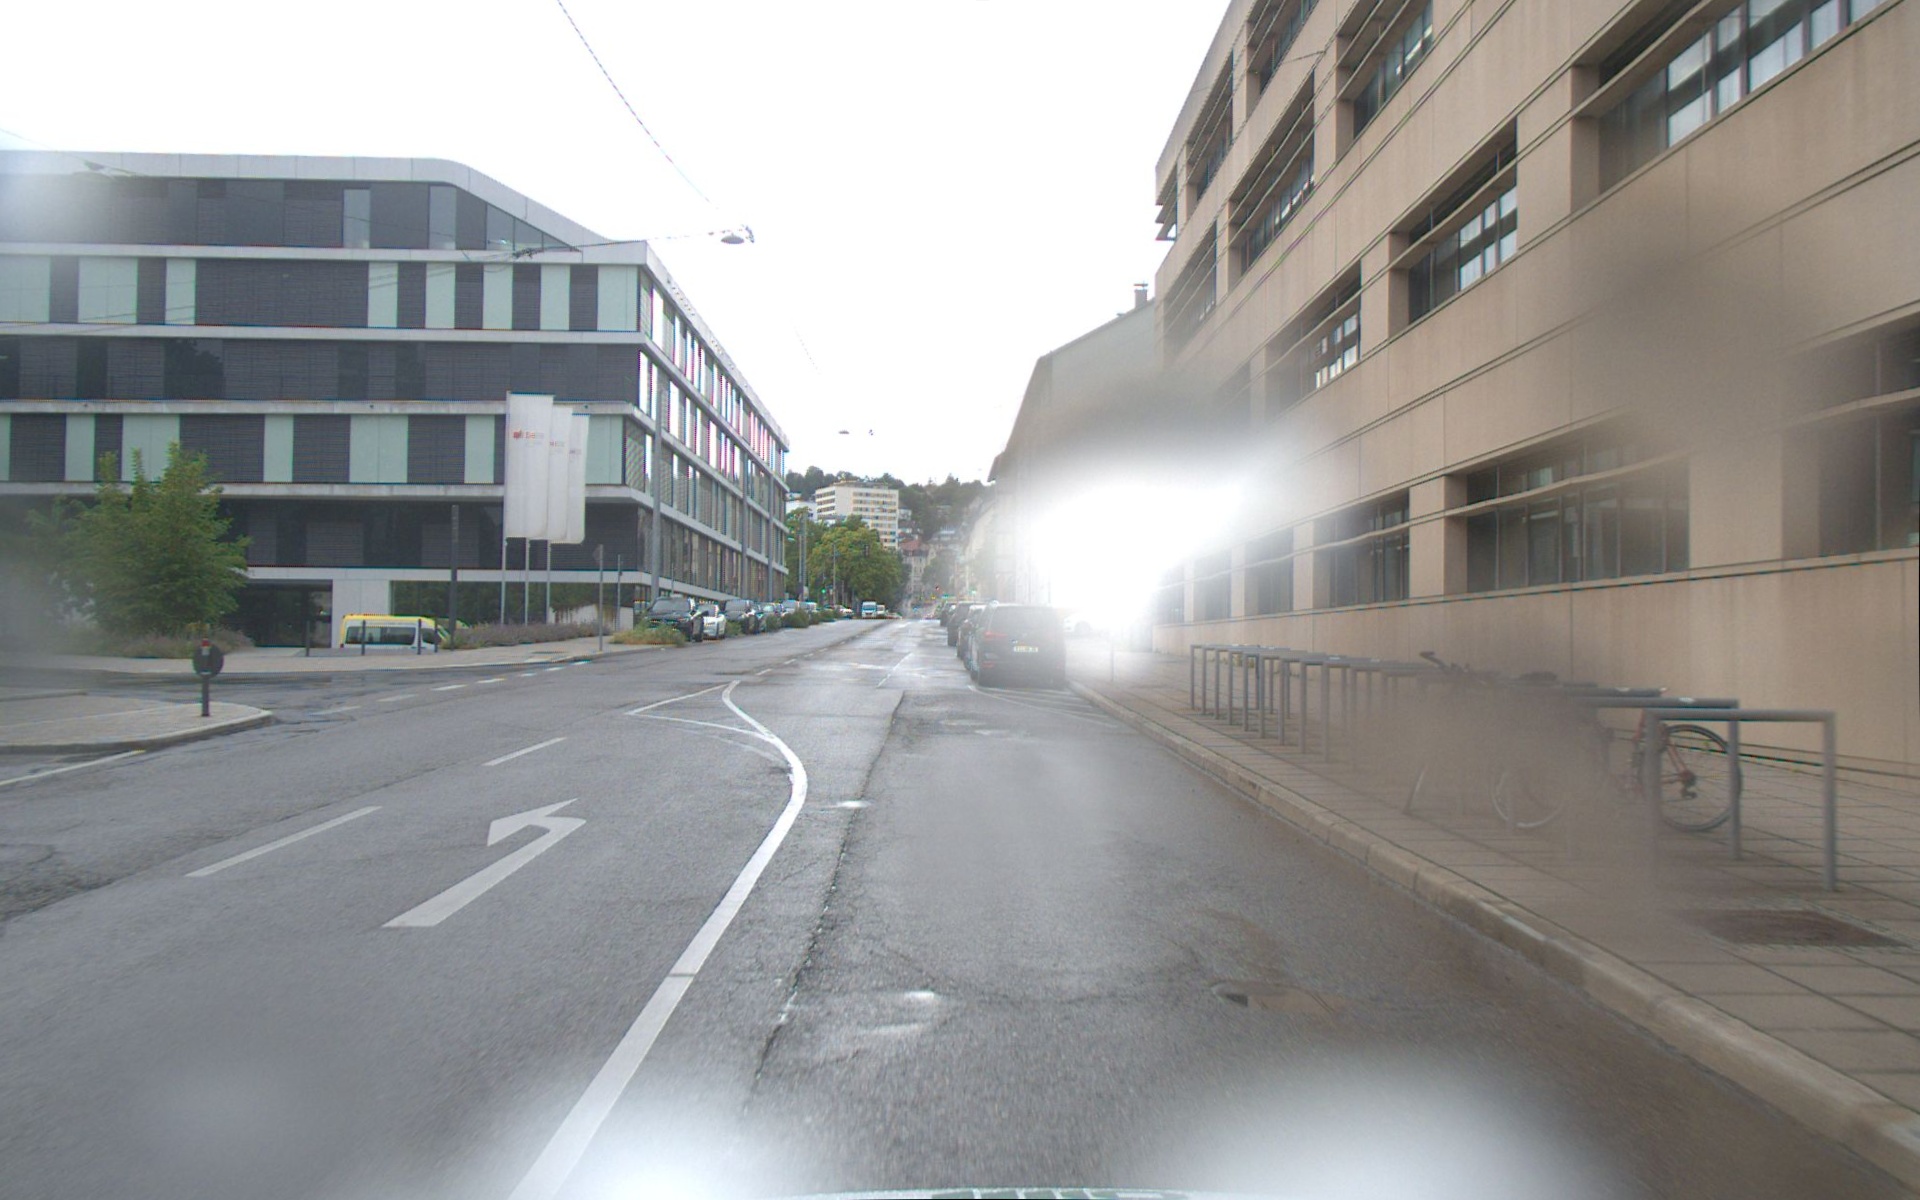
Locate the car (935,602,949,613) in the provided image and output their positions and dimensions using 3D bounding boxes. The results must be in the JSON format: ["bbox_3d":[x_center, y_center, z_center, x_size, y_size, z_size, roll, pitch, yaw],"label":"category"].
[{"bbox_3d":[-2.589,1.107,243.594,1.828,1.632,4.190,1,-1,2],"label":"car"}]

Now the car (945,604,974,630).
[{"bbox_3d":[-0.022,1.040,101.261,1.671,1.480,3.983,1,0,-1],"label":"car"}]

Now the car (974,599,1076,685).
[{"bbox_3d":[1.281,0.819,34.241,1.735,1.632,4.392,1,0,-2],"label":"car"}]

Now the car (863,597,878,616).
[{"bbox_3d":[-12.388,0.914,228.959,2.063,2.591,4.747,1,-1,-3],"label":"car"}]

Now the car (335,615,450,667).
[{"bbox_3d":[-25.349,1.835,74.030,4.502,2.212,1.928,1,-1,-7],"label":"car"}]

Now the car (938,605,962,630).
[{"bbox_3d":[-0.747,1.251,121.858,1.621,1.768,4.178,1,0,-1],"label":"car"}]

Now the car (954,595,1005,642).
[{"bbox_3d":[0.753,0.739,66.858,1.896,1.781,4.795,1,0,-1],"label":"car"}]

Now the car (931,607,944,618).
[{"bbox_3d":[-3.386,1.893,251.737,1.828,1.632,4.190,1,-1,2],"label":"car"}]

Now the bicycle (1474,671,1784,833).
[{"bbox_3d":[4.224,0.947,10.503,1.724,0.970,0.659,0,-1,-4],"label":"bicycle"}]

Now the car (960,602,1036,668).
[{"bbox_3d":[0.936,0.887,42.497,1.690,1.539,4.056,2,-1,-2],"label":"car"}]

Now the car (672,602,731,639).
[{"bbox_3d":[-10.699,0.826,68.713,1.784,1.443,4.401,1,0,-1],"label":"car"}]

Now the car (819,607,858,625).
[{"bbox_3d":[-12.718,1.711,172.981,4.125,1.698,1.633,-3,-5,39],"label":"car"}]

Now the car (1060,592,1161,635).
[{"bbox_3d":[6.878,0.630,75.775,4.349,1.742,1.904,-3,-1,-2],"label":"car"}]

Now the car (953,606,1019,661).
[{"bbox_3d":[0.744,0.987,50.174,1.708,1.560,4.317,1,0,-2],"label":"car"}]

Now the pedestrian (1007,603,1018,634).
[{"bbox_3d":[3.208,1.124,101.188,0.626,1.903,0.538,1,-1,1],"label":"pedestrian"}]

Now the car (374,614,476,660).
[{"bbox_3d":[-25.230,1.742,78.091,4.254,2.068,1.598,1,-1,-1],"label":"car"}]

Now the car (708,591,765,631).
[{"bbox_3d":[-10.618,0.527,78.863,1.922,1.781,4.942,1,0,1],"label":"car"}]

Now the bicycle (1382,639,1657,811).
[{"bbox_3d":[3.861,0.850,11.476,1.696,1.138,0.659,0,-1,-7],"label":"bicycle"}]

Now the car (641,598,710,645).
[{"bbox_3d":[-10.617,0.792,62.012,1.812,1.646,4.490,1,0,-1],"label":"car"}]
